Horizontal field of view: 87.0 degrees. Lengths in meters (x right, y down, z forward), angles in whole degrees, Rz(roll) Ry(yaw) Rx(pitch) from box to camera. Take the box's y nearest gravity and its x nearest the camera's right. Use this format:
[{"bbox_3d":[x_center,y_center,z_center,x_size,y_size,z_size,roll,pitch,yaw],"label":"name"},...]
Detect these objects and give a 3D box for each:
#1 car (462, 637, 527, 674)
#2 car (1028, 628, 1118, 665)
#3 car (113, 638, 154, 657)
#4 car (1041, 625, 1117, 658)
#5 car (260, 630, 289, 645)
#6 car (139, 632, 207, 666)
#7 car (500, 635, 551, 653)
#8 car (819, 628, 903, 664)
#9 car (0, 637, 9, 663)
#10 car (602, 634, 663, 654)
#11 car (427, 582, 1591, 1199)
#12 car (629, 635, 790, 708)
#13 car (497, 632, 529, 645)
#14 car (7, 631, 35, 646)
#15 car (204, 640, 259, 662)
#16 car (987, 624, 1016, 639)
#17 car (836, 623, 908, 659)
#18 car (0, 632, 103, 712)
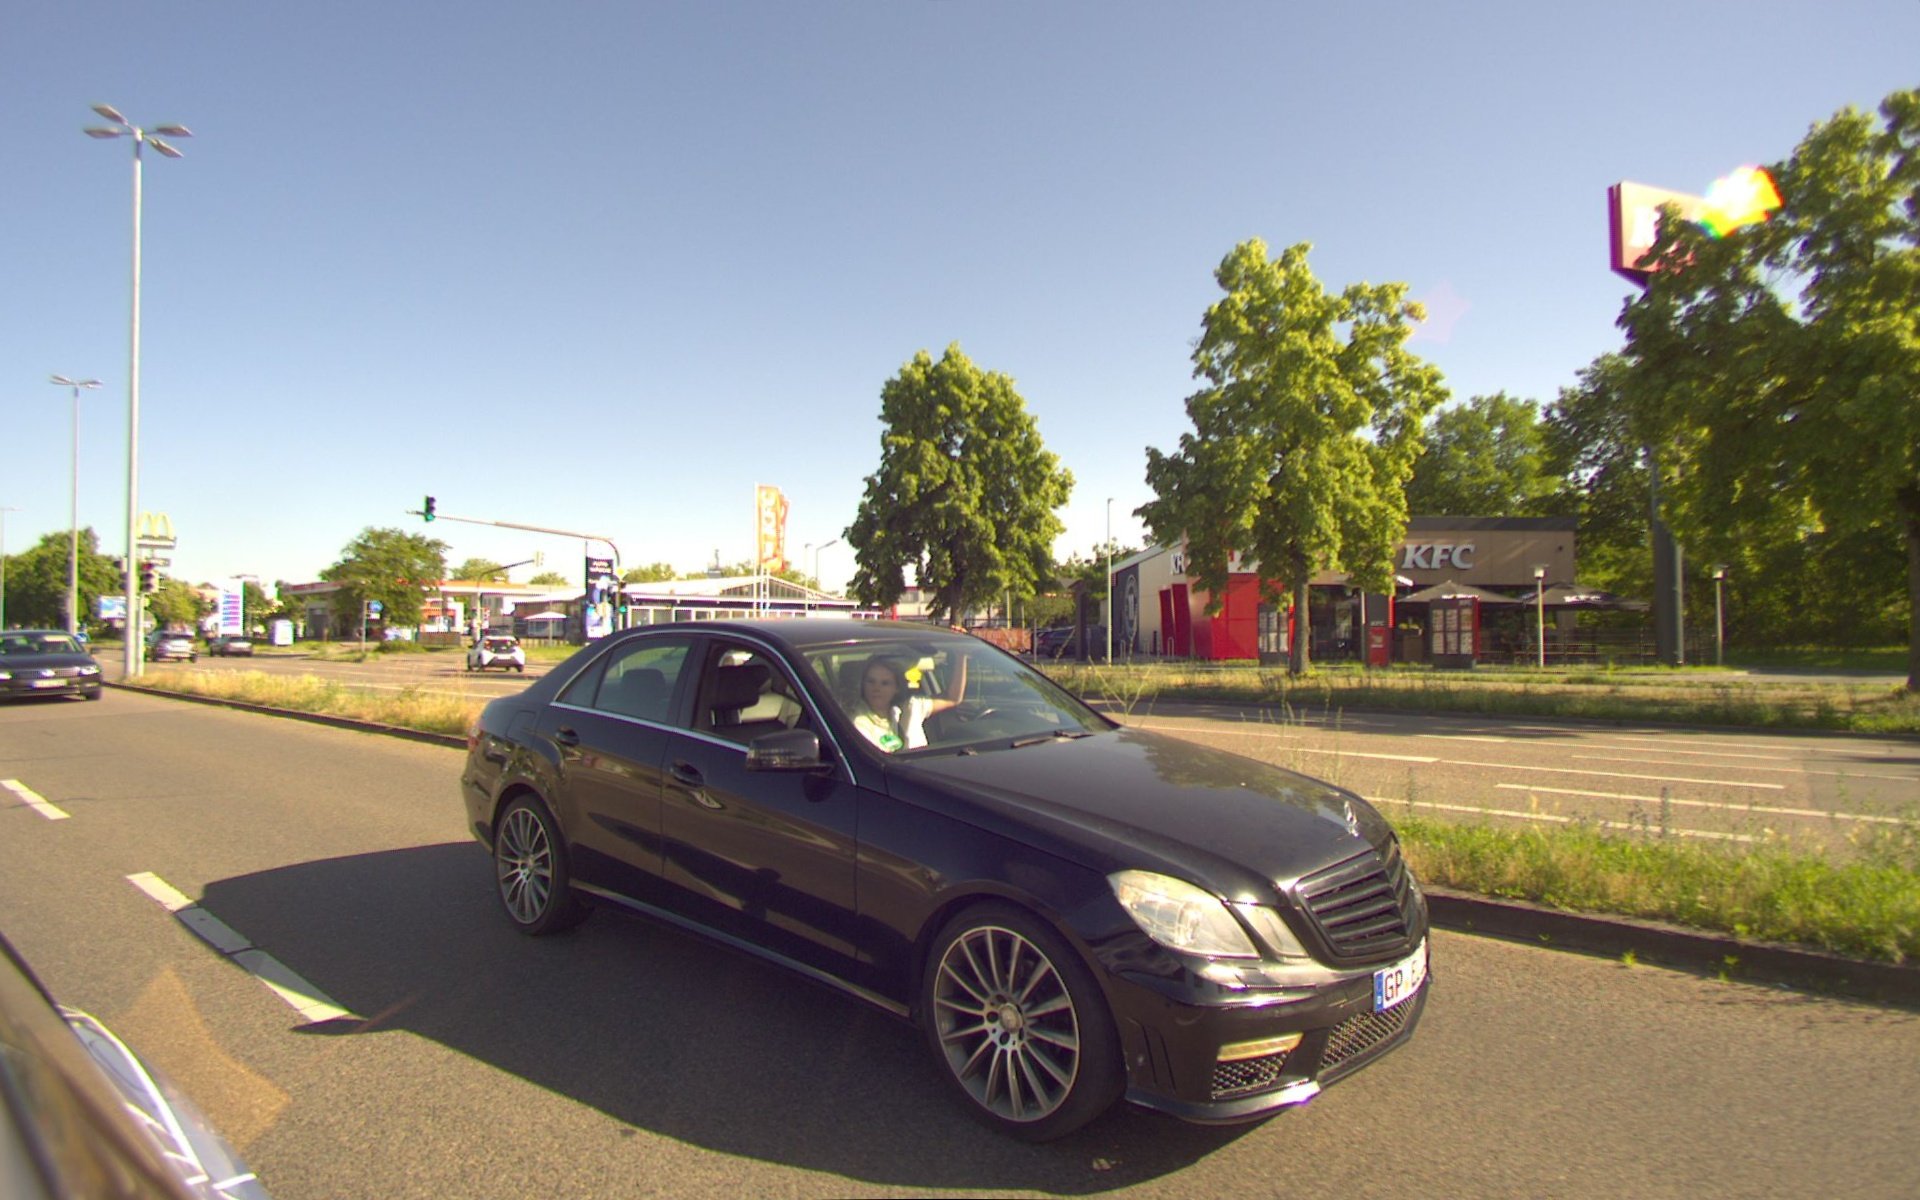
[{"bbox_3d":[-19.805,2.318,42.976,1.966,1.485,4.207,1,-2,-32],"label":"car"},{"bbox_3d":[5.595,2.310,50.371,4.181,1.674,1.896,-1,-1,-2],"label":"car"},{"bbox_3d":[-70.384,4.053,86.175,4.193,1.537,1.973,-3,-3,41],"label":"car"},{"bbox_3d":[6.634,2.327,56.814,3.940,1.762,1.885,0,-2,-4],"label":"car"},{"bbox_3d":[-79.614,4.377,117.529,4.116,1.625,1.740,-2,-4,40],"label":"car"},{"bbox_3d":[-39.887,2.491,51.260,4.168,1.654,1.855,-2,-4,41],"label":"car"},{"bbox_3d":[-32.911,3.309,76.660,4.116,1.335,1.876,-1,-4,40],"label":"car"},{"bbox_3d":[-4.938,2.300,50.991,4.073,1.674,1.896,-1,-1,-2],"label":"car"},{"bbox_3d":[-55.945,2.836,57.935,4.114,1.466,1.767,-2,-3,41],"label":"car"},{"bbox_3d":[-25.108,3.372,77.764,1.900,1.443,4.063,-2,-4,41],"label":"car"},{"bbox_3d":[-0.314,0.786,4.391,4.916,1.494,1.938,-2,-2,42],"label":"car"},{"bbox_3d":[-6.486,1.779,25.997,4.174,1.697,1.973,-2,-4,41],"label":"car"},{"bbox_3d":[-51.835,4.505,117.392,4.116,1.451,1.750,-2,-2,40],"label":"car"},{"bbox_3d":[-106.662,4.357,114.904,4.265,1.612,1.875,-2,-4,41],"label":"car"},{"bbox_3d":[-49.284,3.416,68.436,4.620,1.387,1.973,-2,-3,41],"label":"car"},{"bbox_3d":[6.017,4.515,145.998,4.063,2.109,1.900,1,-3,1],"label":"car"},{"bbox_3d":[-4.795,2.230,55.577,3.777,1.865,1.847,-1,-1,1],"label":"car"},{"bbox_3d":[-19.148,1.412,20.755,4.263,1.464,1.824,-2,-2,41],"label":"car"}]
